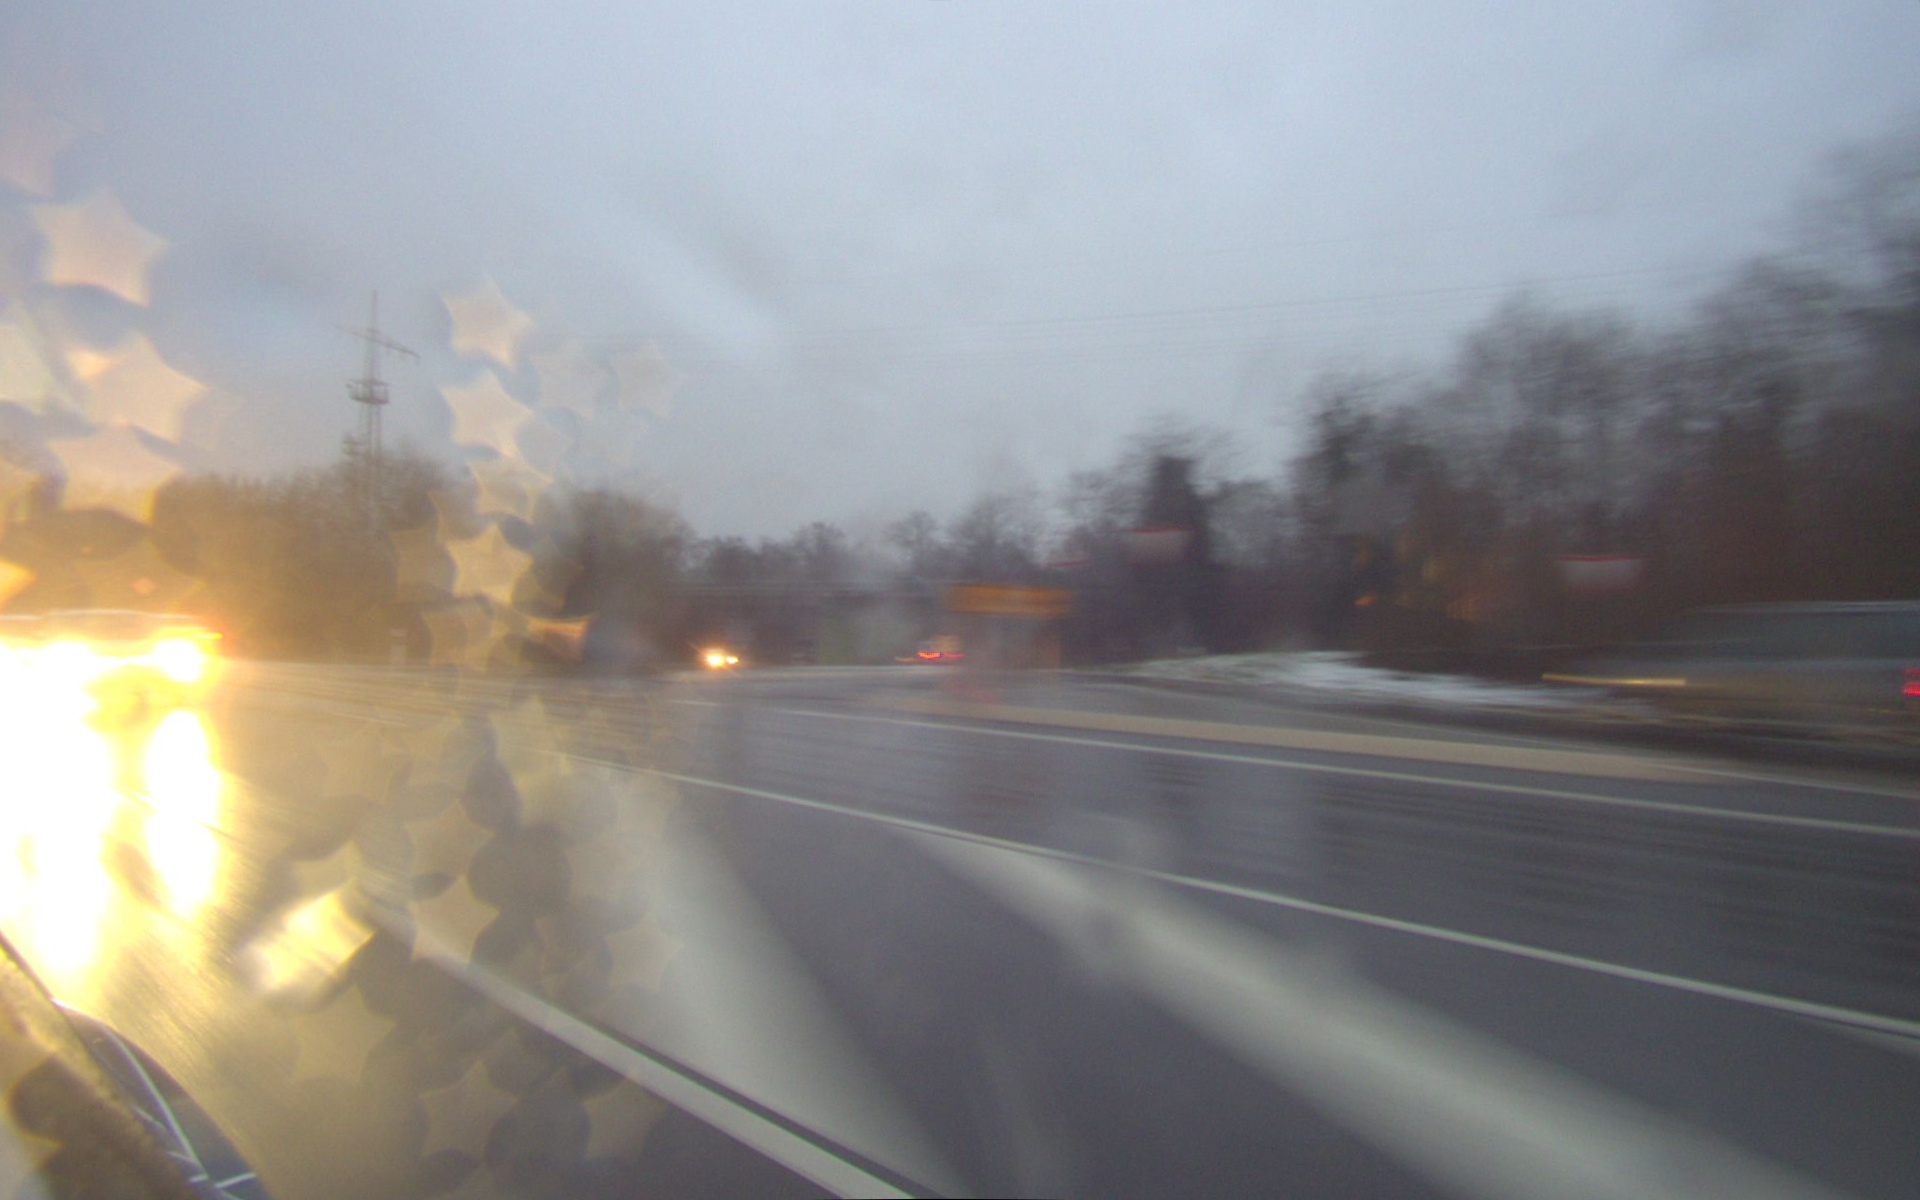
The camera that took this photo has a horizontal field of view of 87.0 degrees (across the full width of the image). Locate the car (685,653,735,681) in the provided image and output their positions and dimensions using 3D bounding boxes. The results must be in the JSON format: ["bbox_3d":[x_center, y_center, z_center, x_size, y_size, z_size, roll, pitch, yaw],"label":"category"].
[{"bbox_3d":[-19.072,5.069,77.082,1.926,1.769,4.820,-2,1,-38],"label":"car"}]

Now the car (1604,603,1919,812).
[{"bbox_3d":[9.673,1.035,10.851,1.812,1.984,4.372,-1,0,-24],"label":"car"}]

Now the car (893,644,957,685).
[{"bbox_3d":[-1.936,3.406,54.377,1.923,1.769,4.827,-2,1,-22],"label":"car"}]

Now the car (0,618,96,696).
[{"bbox_3d":[-21.297,1.216,22.830,4.512,1.567,1.985,0,0,39],"label":"car"}]

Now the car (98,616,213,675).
[{"bbox_3d":[-24.030,1.294,30.167,4.569,1.629,1.805,-1,-1,40],"label":"car"}]

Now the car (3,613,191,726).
[{"bbox_3d":[-14.435,1.054,16.851,4.214,1.639,1.696,-1,-1,40],"label":"car"}]
